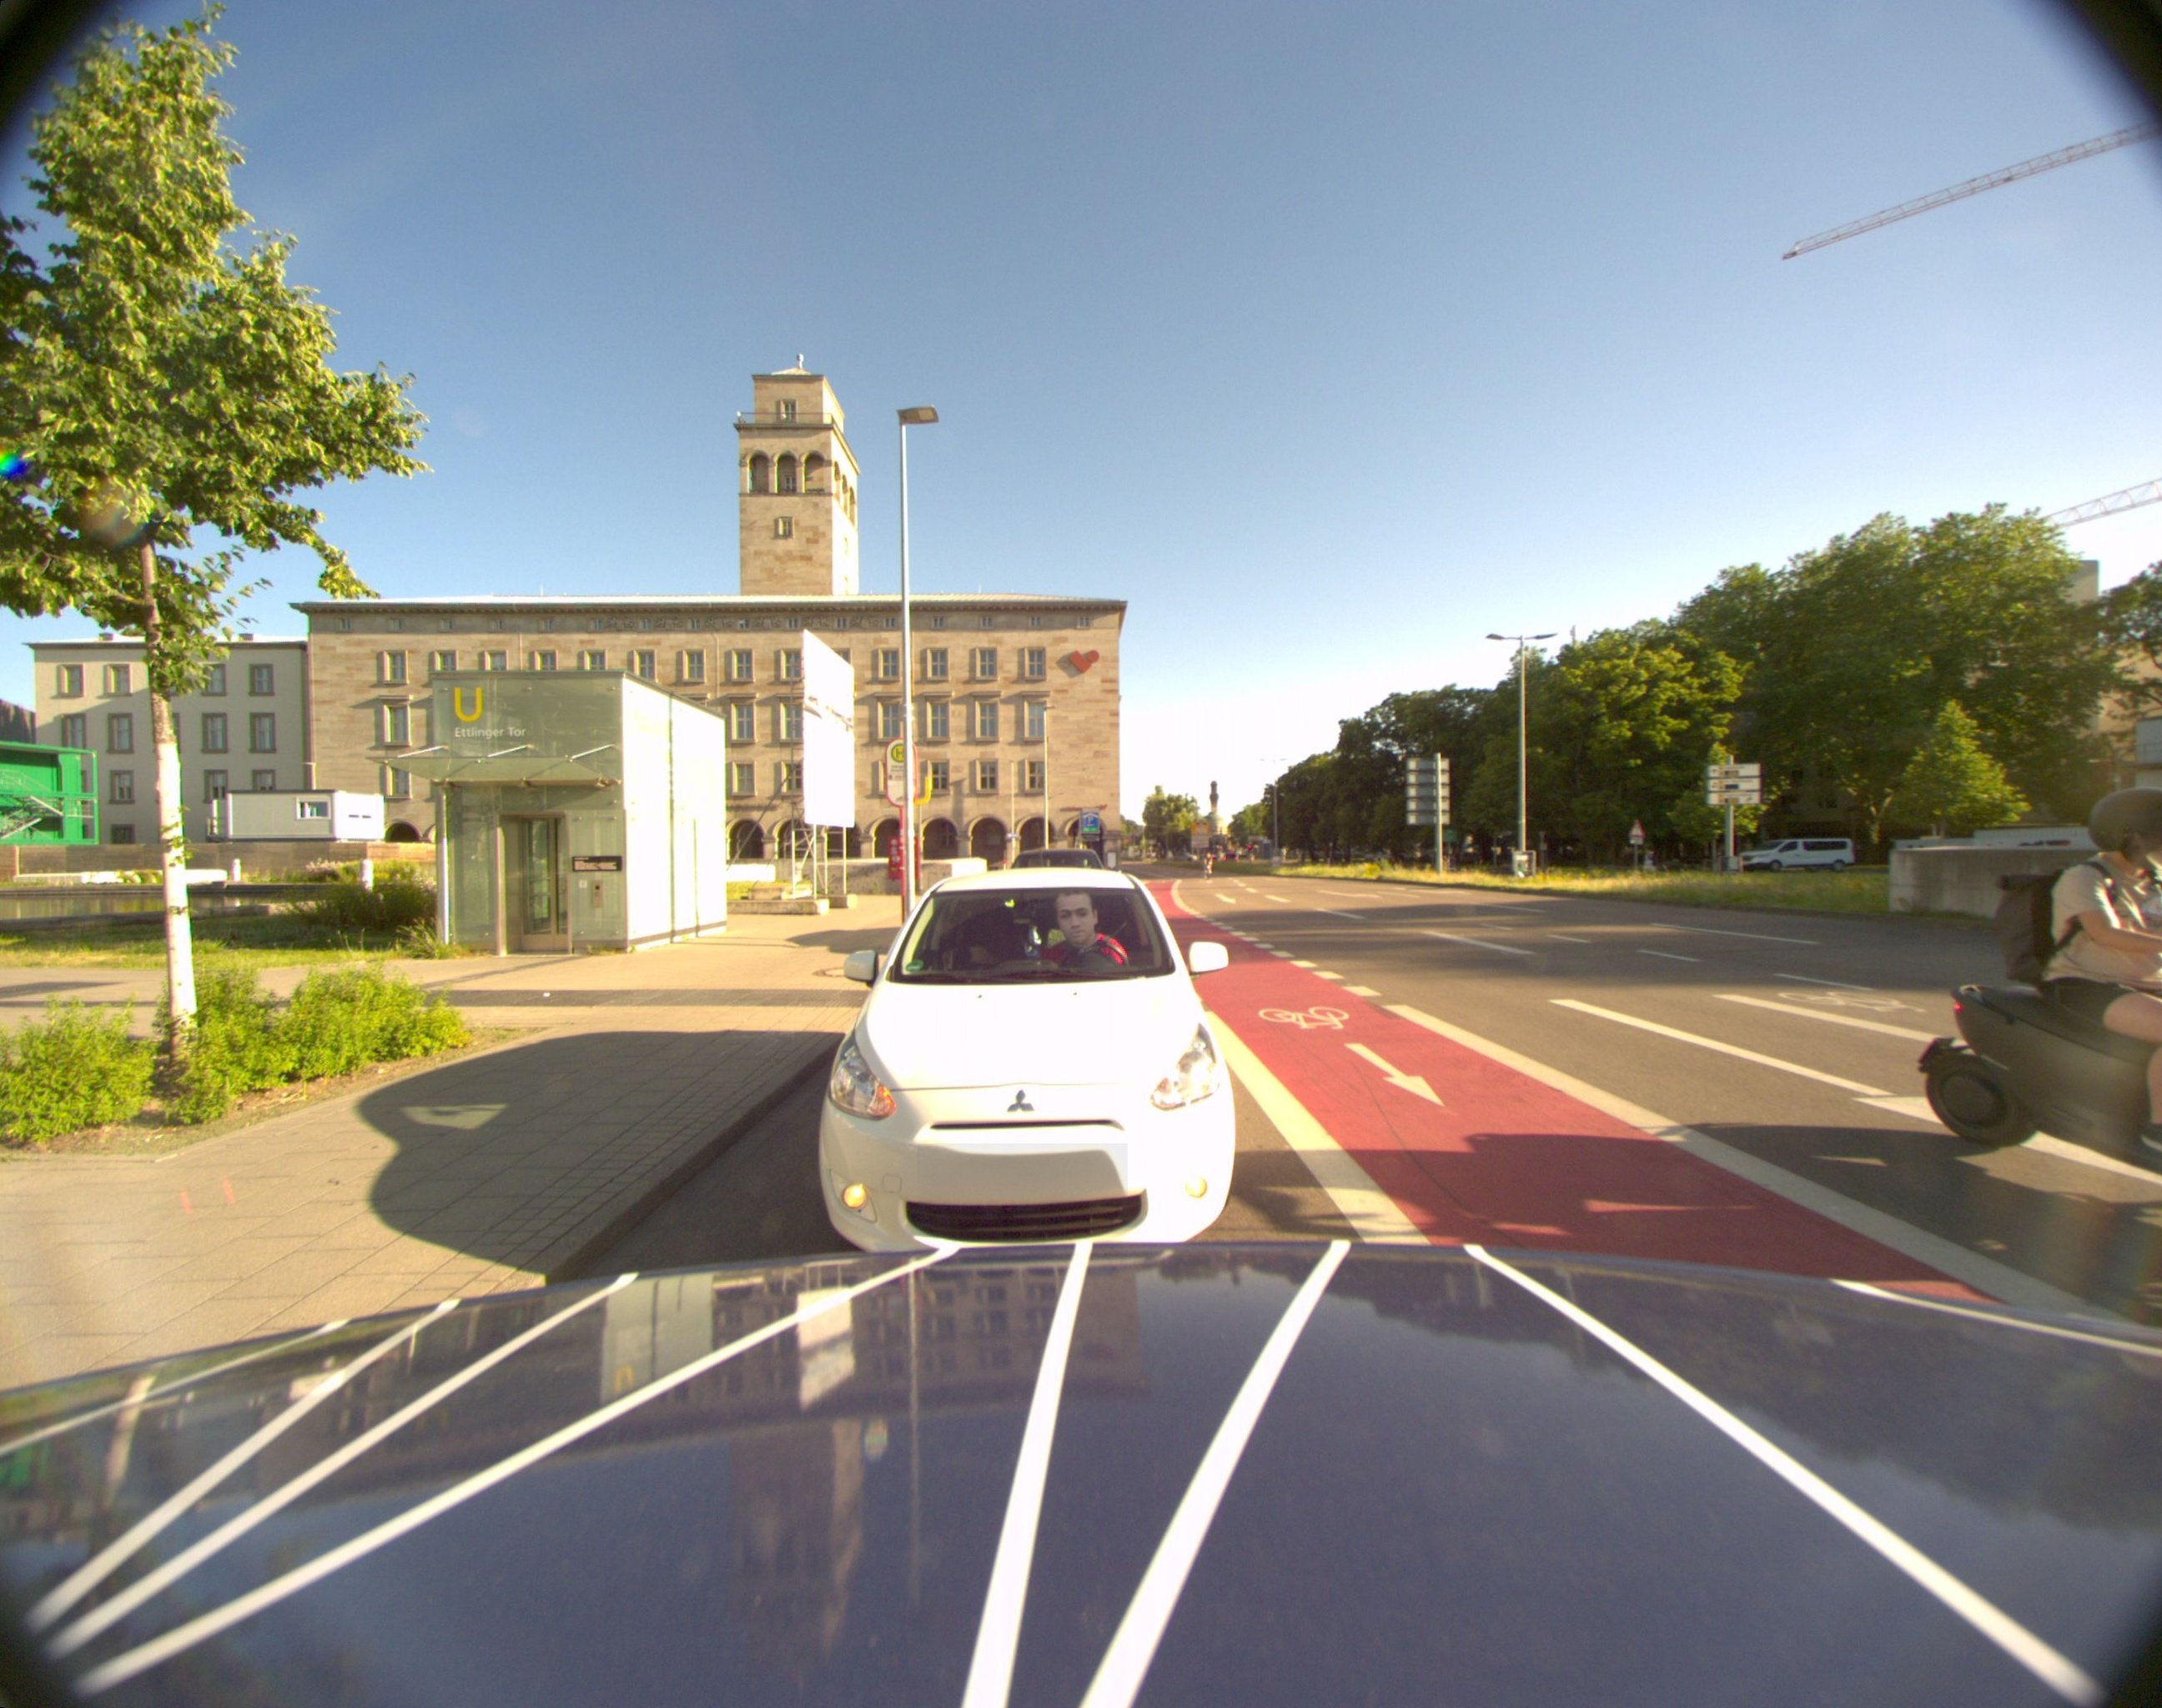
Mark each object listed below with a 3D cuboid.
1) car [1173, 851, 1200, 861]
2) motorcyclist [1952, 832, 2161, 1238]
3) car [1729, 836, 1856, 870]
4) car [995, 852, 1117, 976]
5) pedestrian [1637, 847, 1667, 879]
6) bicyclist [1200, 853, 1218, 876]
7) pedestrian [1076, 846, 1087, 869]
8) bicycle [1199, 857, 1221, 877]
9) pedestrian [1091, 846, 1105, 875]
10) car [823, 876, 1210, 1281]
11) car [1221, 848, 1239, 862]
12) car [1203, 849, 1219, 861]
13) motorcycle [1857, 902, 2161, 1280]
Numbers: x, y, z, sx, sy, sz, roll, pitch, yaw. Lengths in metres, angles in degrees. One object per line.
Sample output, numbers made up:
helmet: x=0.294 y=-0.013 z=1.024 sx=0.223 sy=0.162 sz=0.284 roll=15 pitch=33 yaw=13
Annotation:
car: x=19.935 y=0.380 z=143.652 sx=4.574 sy=1.827 sz=1.881 roll=-2 pitch=1 yaw=27
motorcyclist: x=4.275 y=0.654 z=2.941 sx=0.727 sy=1.466 sz=0.917 roll=-2 pitch=0 yaw=1
car: x=42.134 y=-0.059 z=45.112 sx=5.516 sy=1.924 sz=2.065 roll=-1 pitch=1 yaw=2
car: x=-0.373 y=0.838 z=12.521 sx=1.642 sy=1.653 sz=3.849 roll=-2 pitch=0 yaw=-1
pedestrian: x=33.518 y=0.534 z=44.603 sx=0.989 sy=1.821 sz=1.019 roll=-2 pitch=1 yaw=-1
bicyclist: x=7.681 y=0.608 z=45.612 sx=0.854 sy=1.340 sz=0.829 roll=-2 pitch=1 yaw=1
pedestrian: x=0.079 y=0.433 z=85.663 sx=1.122 sy=2.524 sz=1.055 roll=-2 pitch=1 yaw=1
bicycle: x=7.696 y=0.767 z=45.413 sx=0.854 sy=1.109 sz=2.808 roll=-2 pitch=0 yaw=1
pedestrian: x=1.477 y=0.589 z=67.302 sx=1.122 sy=2.524 sz=1.055 roll=-2 pitch=1 yaw=1
car: x=-0.234 y=0.953 z=4.842 sx=1.496 sy=1.477 sz=3.604 roll=-2 pitch=0 yaw=1
car: x=21.594 y=0.107 z=110.214 sx=1.819 sy=1.817 sz=3.999 roll=-2 pitch=1 yaw=1
car: x=20.588 y=0.103 z=120.442 sx=1.747 sy=1.778 sz=3.947 roll=-2 pitch=1 yaw=1
motorcycle: x=4.283 y=0.898 z=2.888 sx=0.724 sy=1.286 sz=1.884 roll=-2 pitch=0 yaw=1
